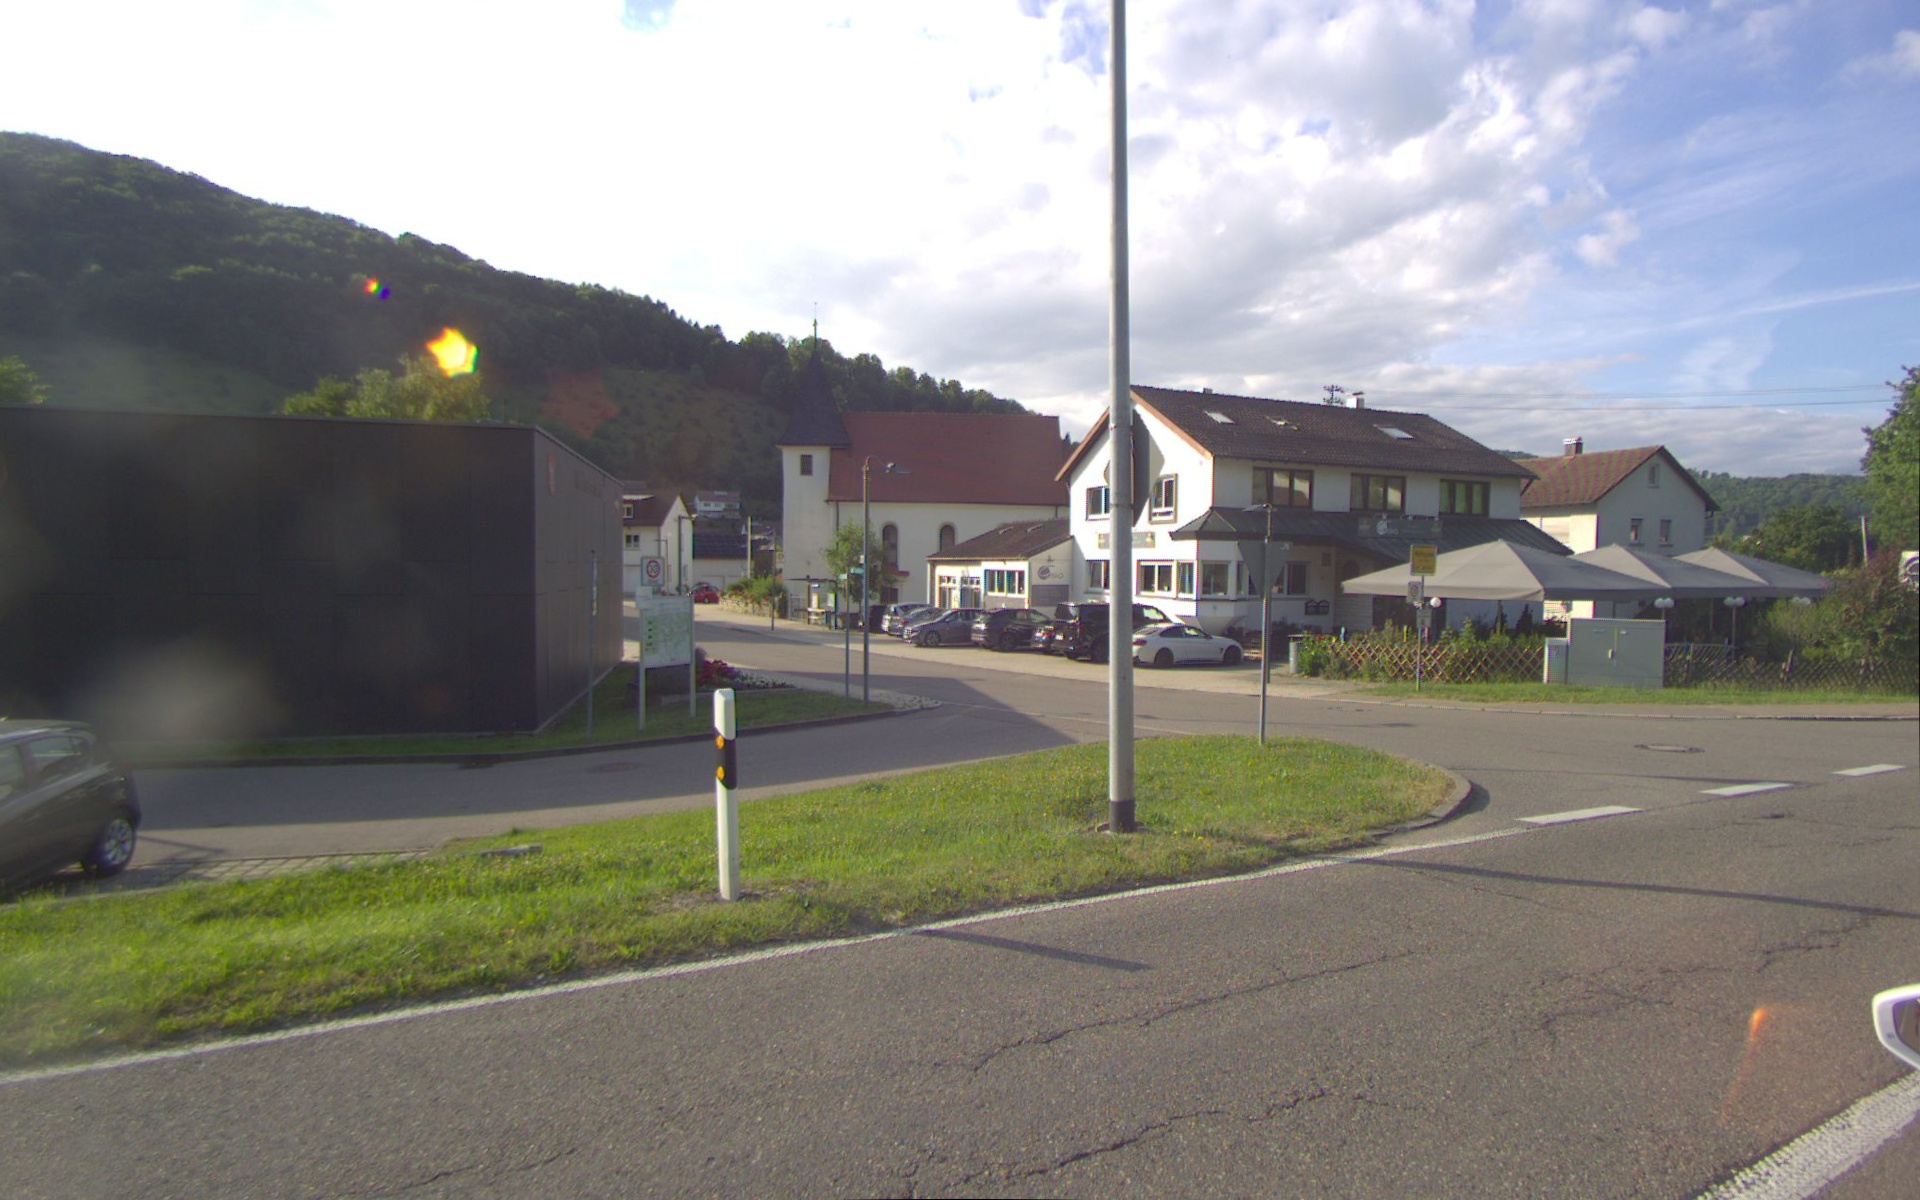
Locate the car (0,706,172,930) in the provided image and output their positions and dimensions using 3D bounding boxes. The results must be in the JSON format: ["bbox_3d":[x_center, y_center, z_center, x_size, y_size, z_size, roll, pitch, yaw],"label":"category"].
[{"bbox_3d":[-8.460,1.804,8.007,1.801,1.555,3.992,1,-1,-12],"label":"car"}]

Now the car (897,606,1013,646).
[{"bbox_3d":[-0.191,1.105,42.320,4.518,1.618,1.986,1,-1,-27],"label":"car"}]

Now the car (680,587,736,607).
[{"bbox_3d":[-20.185,-0.219,80.553,3.956,1.528,1.982,0,0,-33],"label":"car"}]

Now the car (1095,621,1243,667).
[{"bbox_3d":[6.843,1.405,32.849,4.518,1.408,1.986,1,-1,-27],"label":"car"}]

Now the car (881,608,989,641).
[{"bbox_3d":[-1.129,1.100,45.483,4.518,1.431,1.986,1,-1,-27],"label":"car"}]

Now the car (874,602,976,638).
[{"bbox_3d":[-1.671,0.985,48.081,4.518,1.665,1.986,1,-1,-27],"label":"car"}]

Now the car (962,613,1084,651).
[{"bbox_3d":[2.525,1.272,40.176,4.518,1.431,1.986,1,-1,-27],"label":"car"}]

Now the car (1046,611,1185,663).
[{"bbox_3d":[5.447,1.281,35.129,4.518,1.707,1.986,1,-1,-27],"label":"car"}]

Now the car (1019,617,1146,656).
[{"bbox_3d":[4.673,1.379,38.262,4.518,1.408,1.986,1,-1,-27],"label":"car"}]
